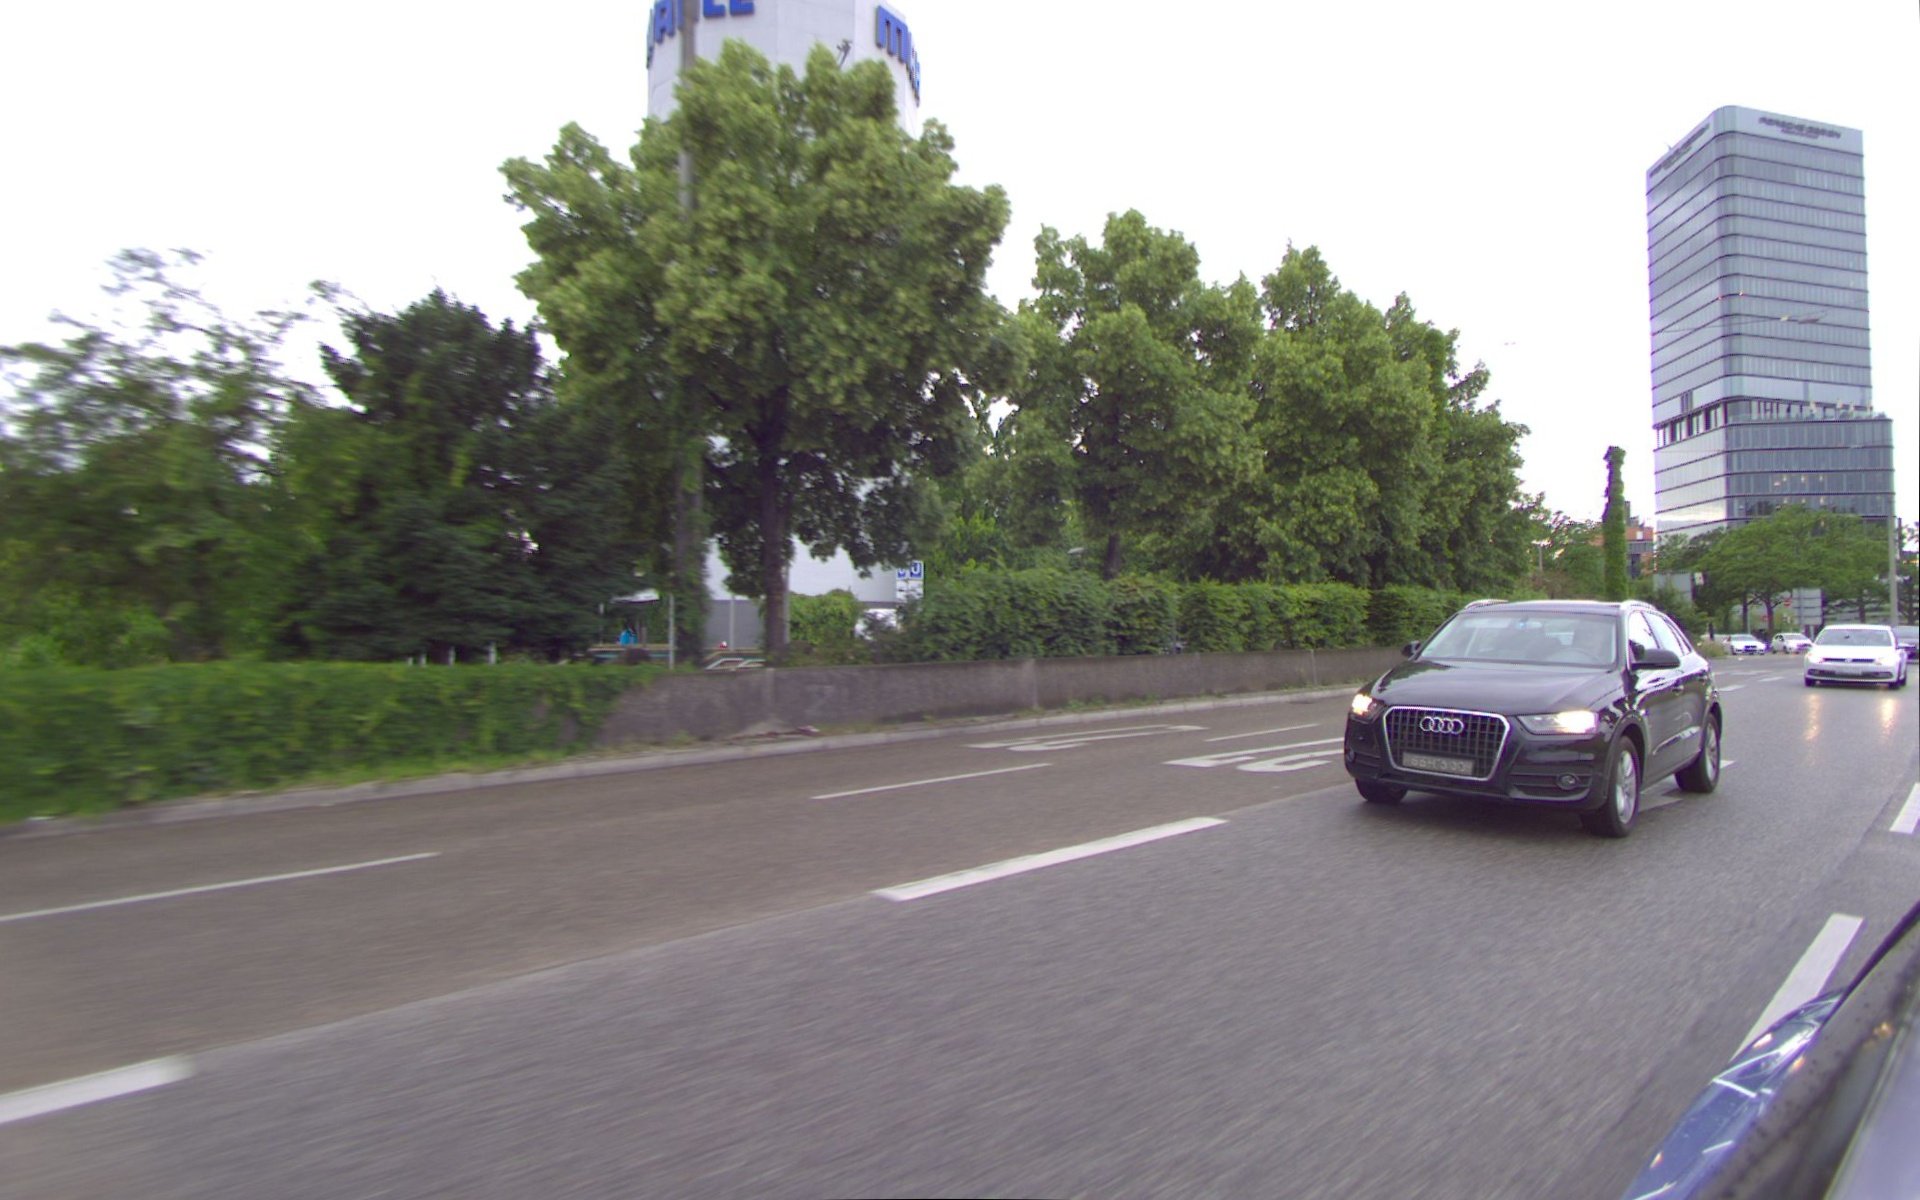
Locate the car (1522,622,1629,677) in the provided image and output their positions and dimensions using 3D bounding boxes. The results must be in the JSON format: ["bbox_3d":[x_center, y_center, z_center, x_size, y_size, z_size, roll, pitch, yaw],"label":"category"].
[{"bbox_3d":[16.967,1.312,27.833,1.753,1.416,3.938,-2,-2,43],"label":"car"}]

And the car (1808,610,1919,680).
[{"bbox_3d":[21.496,1.034,23.804,4.190,1.492,1.727,1,-3,-42],"label":"car"}]

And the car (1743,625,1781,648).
[{"bbox_3d":[55.519,2.518,70.048,3.616,1.495,1.631,1,-2,-45],"label":"car"}]

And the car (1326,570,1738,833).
[{"bbox_3d":[4.694,0.670,8.041,4.057,1.554,1.726,2,-3,-44],"label":"car"}]

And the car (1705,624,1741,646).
[{"bbox_3d":[95.564,4.398,126.765,1.906,2.618,5.423,-1,-2,19],"label":"car"}]
